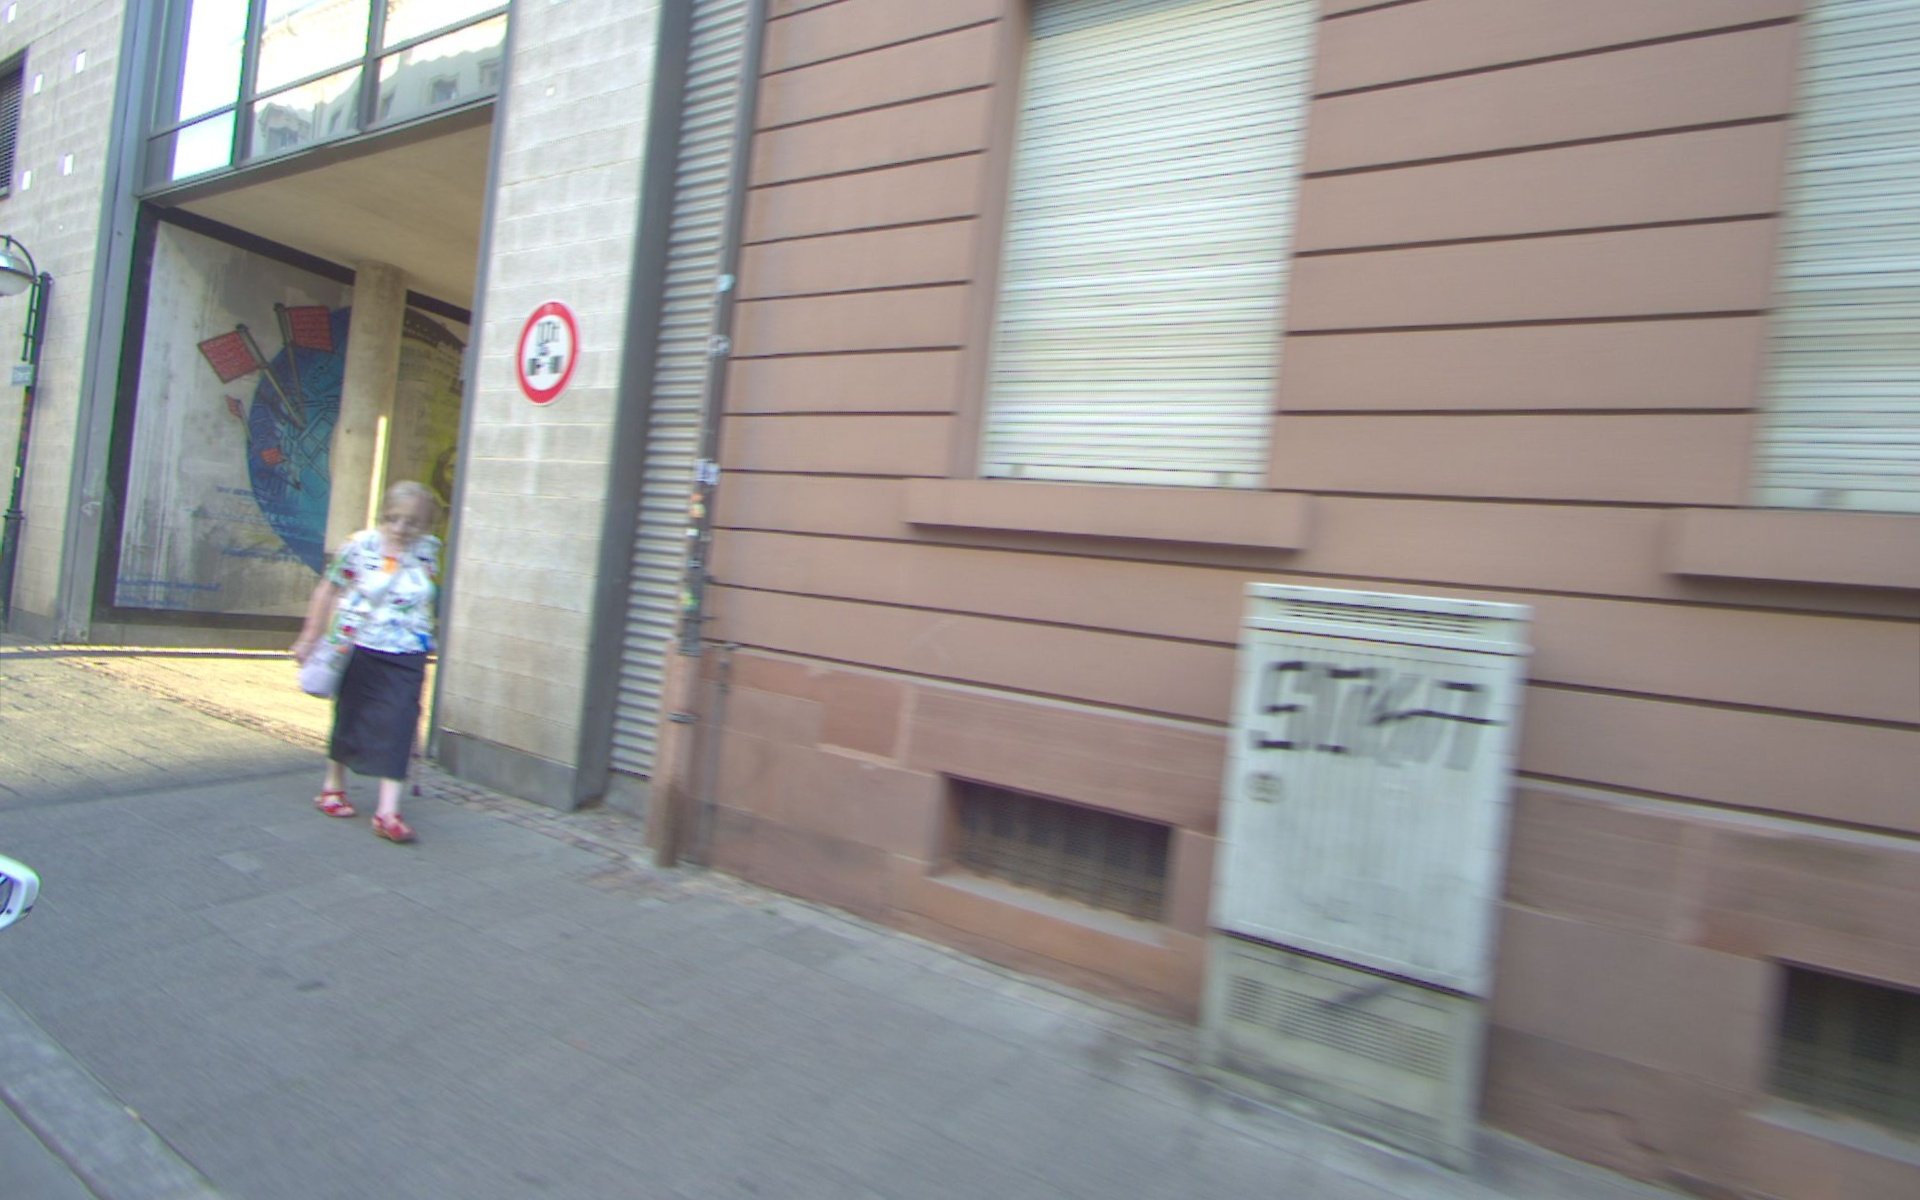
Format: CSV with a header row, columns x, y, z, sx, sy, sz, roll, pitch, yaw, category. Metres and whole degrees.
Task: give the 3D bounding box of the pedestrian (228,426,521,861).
x,y,z,sx,sy,sz,roll,pitch,yaw,category
-2.796,0.169,4.812,0.883,1.827,0.844,7,3,36,pedestrian
